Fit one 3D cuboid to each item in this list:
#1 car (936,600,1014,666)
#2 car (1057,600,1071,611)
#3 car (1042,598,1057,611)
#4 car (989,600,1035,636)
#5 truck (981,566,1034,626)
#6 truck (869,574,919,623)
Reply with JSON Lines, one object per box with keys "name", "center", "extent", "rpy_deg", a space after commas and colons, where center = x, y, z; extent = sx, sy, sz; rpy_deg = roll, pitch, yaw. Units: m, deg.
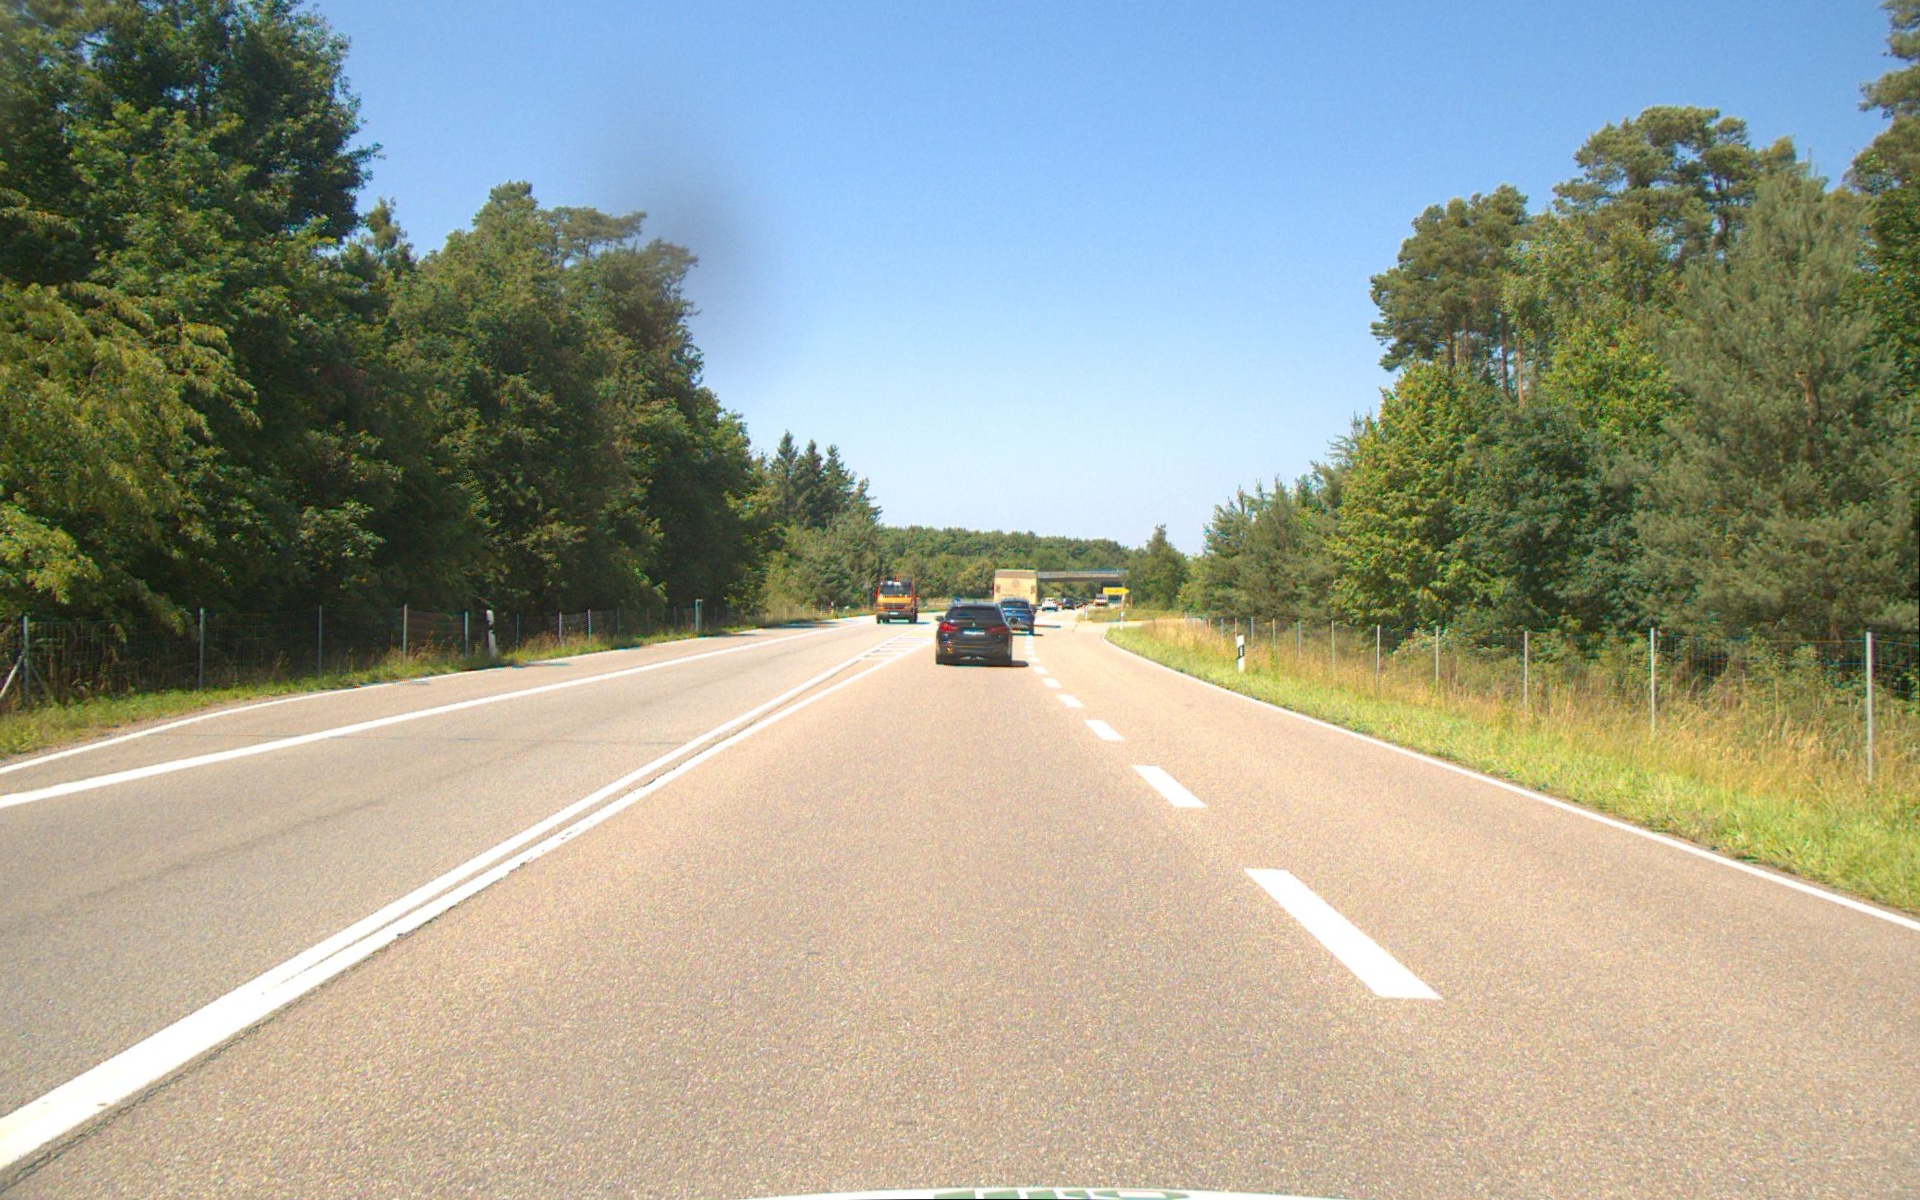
{"name": "car", "center": [0.345, 0.768, 40.062], "extent": [1.783, 1.496, 4.000], "rpy_deg": [0, 0, 0]}
{"name": "car", "center": [14.960, 0.758, 237.512], "extent": [1.952, 1.445, 4.002], "rpy_deg": [2, 0, 3]}
{"name": "car", "center": [11.139, 0.566, 206.047], "extent": [1.824, 1.633, 4.001], "rpy_deg": [1, 0, 1]}
{"name": "car", "center": [2.316, 0.802, 75.101], "extent": [1.908, 1.569, 3.999], "rpy_deg": [0, 0, -1]}
{"name": "truck", "center": [2.806, -0.264, 99.219], "extent": [2.905, 3.447, 6.437], "rpy_deg": [0, 0, -1]}
{"name": "truck", "center": [-3.842, -0.084, 97.697], "extent": [2.348, 2.770, 6.554], "rpy_deg": [1, 0, 3]}
